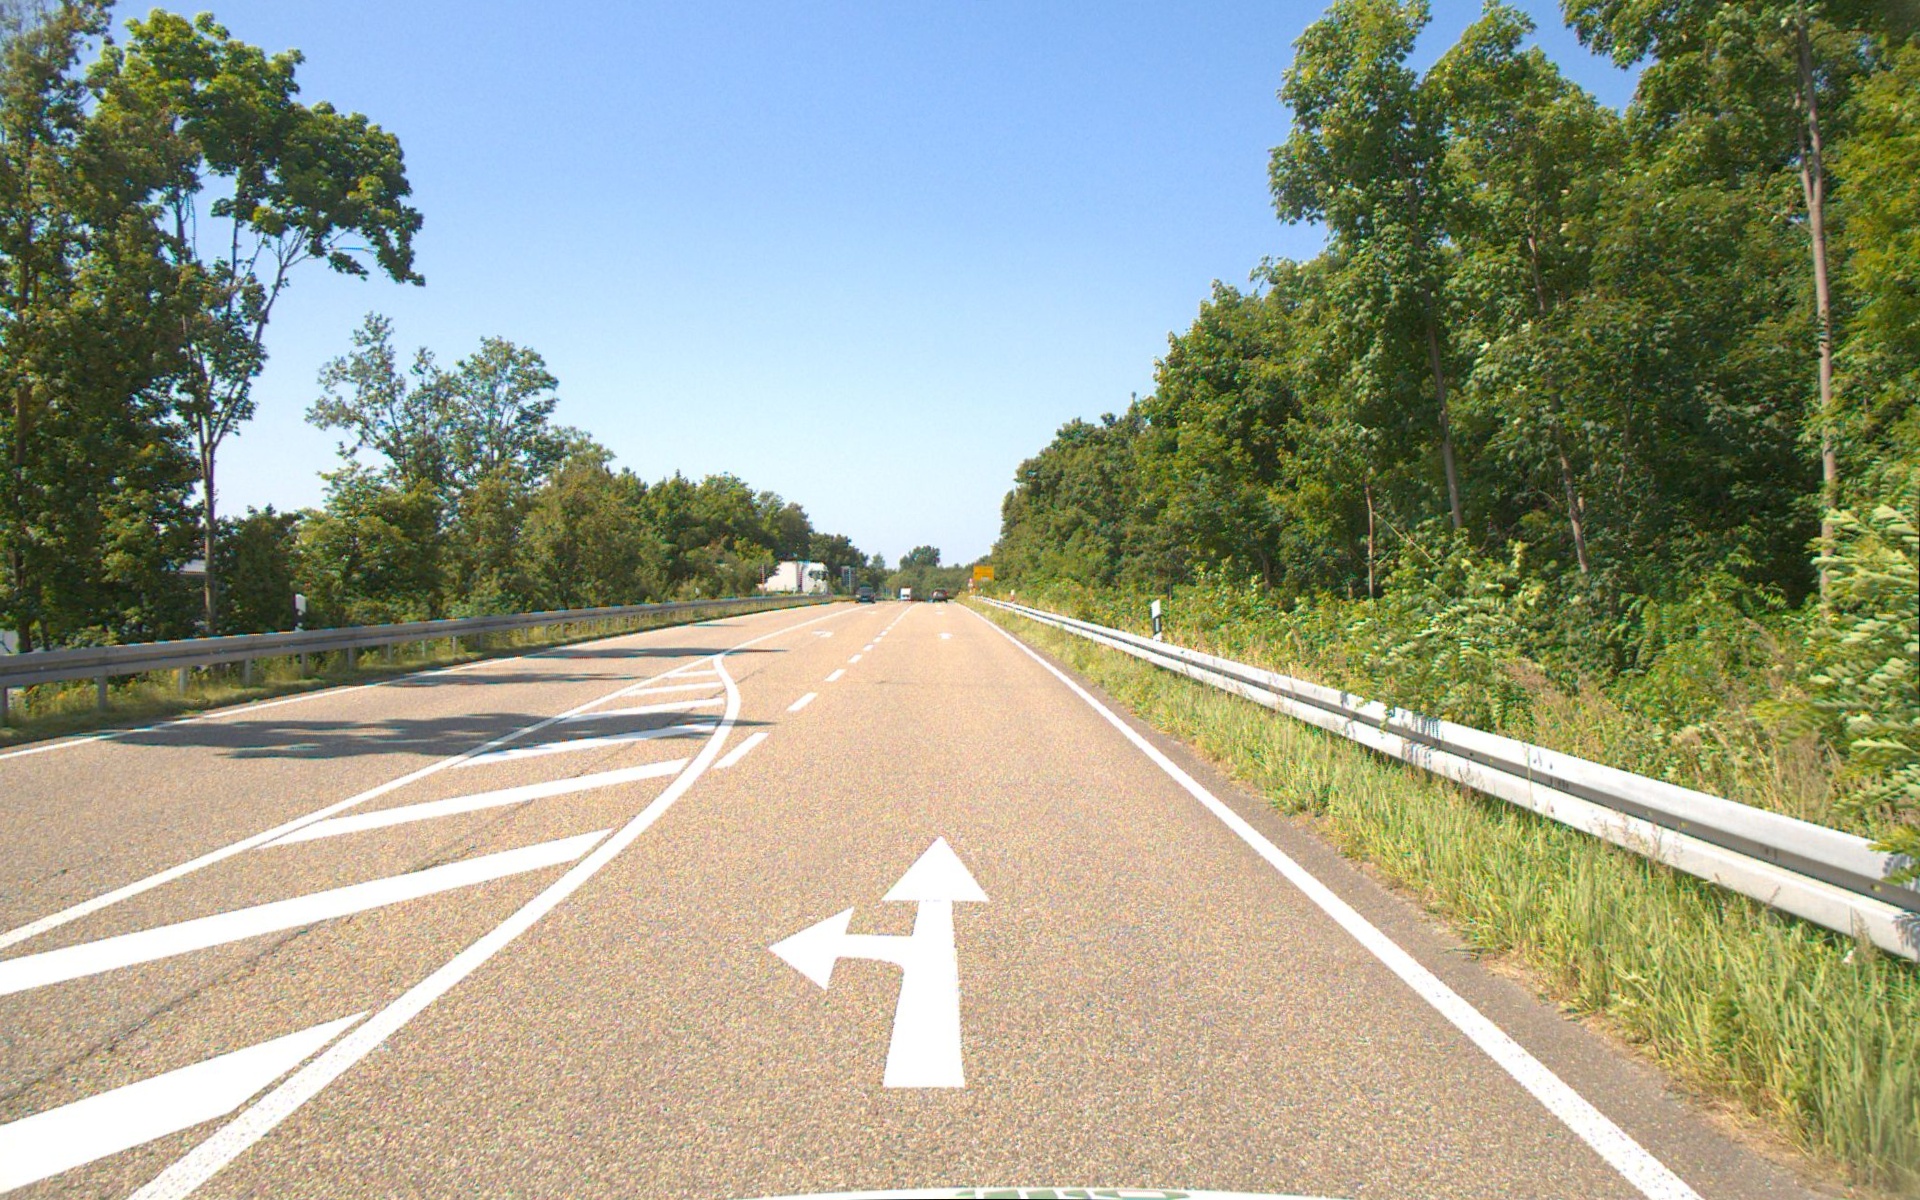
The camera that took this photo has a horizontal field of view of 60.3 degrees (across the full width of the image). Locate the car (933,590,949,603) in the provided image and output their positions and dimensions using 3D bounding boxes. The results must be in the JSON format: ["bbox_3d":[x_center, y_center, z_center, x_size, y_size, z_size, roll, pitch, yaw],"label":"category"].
[{"bbox_3d":[-2.181,-0.400,189.441,1.706,1.496,3.692,0,1,-1],"label":"car"}]

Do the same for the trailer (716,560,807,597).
[{"bbox_3d":[-20.017,-2.203,167.351,8.915,3.641,2.000,0,0,0],"label":"trailer"}]

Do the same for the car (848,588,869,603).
[{"bbox_3d":[-9.442,-0.423,154.115,1.695,1.289,3.904,0,1,-1],"label":"car"}]

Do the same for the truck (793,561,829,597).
[{"bbox_3d":[-15.035,-2.164,167.291,3.394,3.599,2.000,0,0,1],"label":"truck"}]
